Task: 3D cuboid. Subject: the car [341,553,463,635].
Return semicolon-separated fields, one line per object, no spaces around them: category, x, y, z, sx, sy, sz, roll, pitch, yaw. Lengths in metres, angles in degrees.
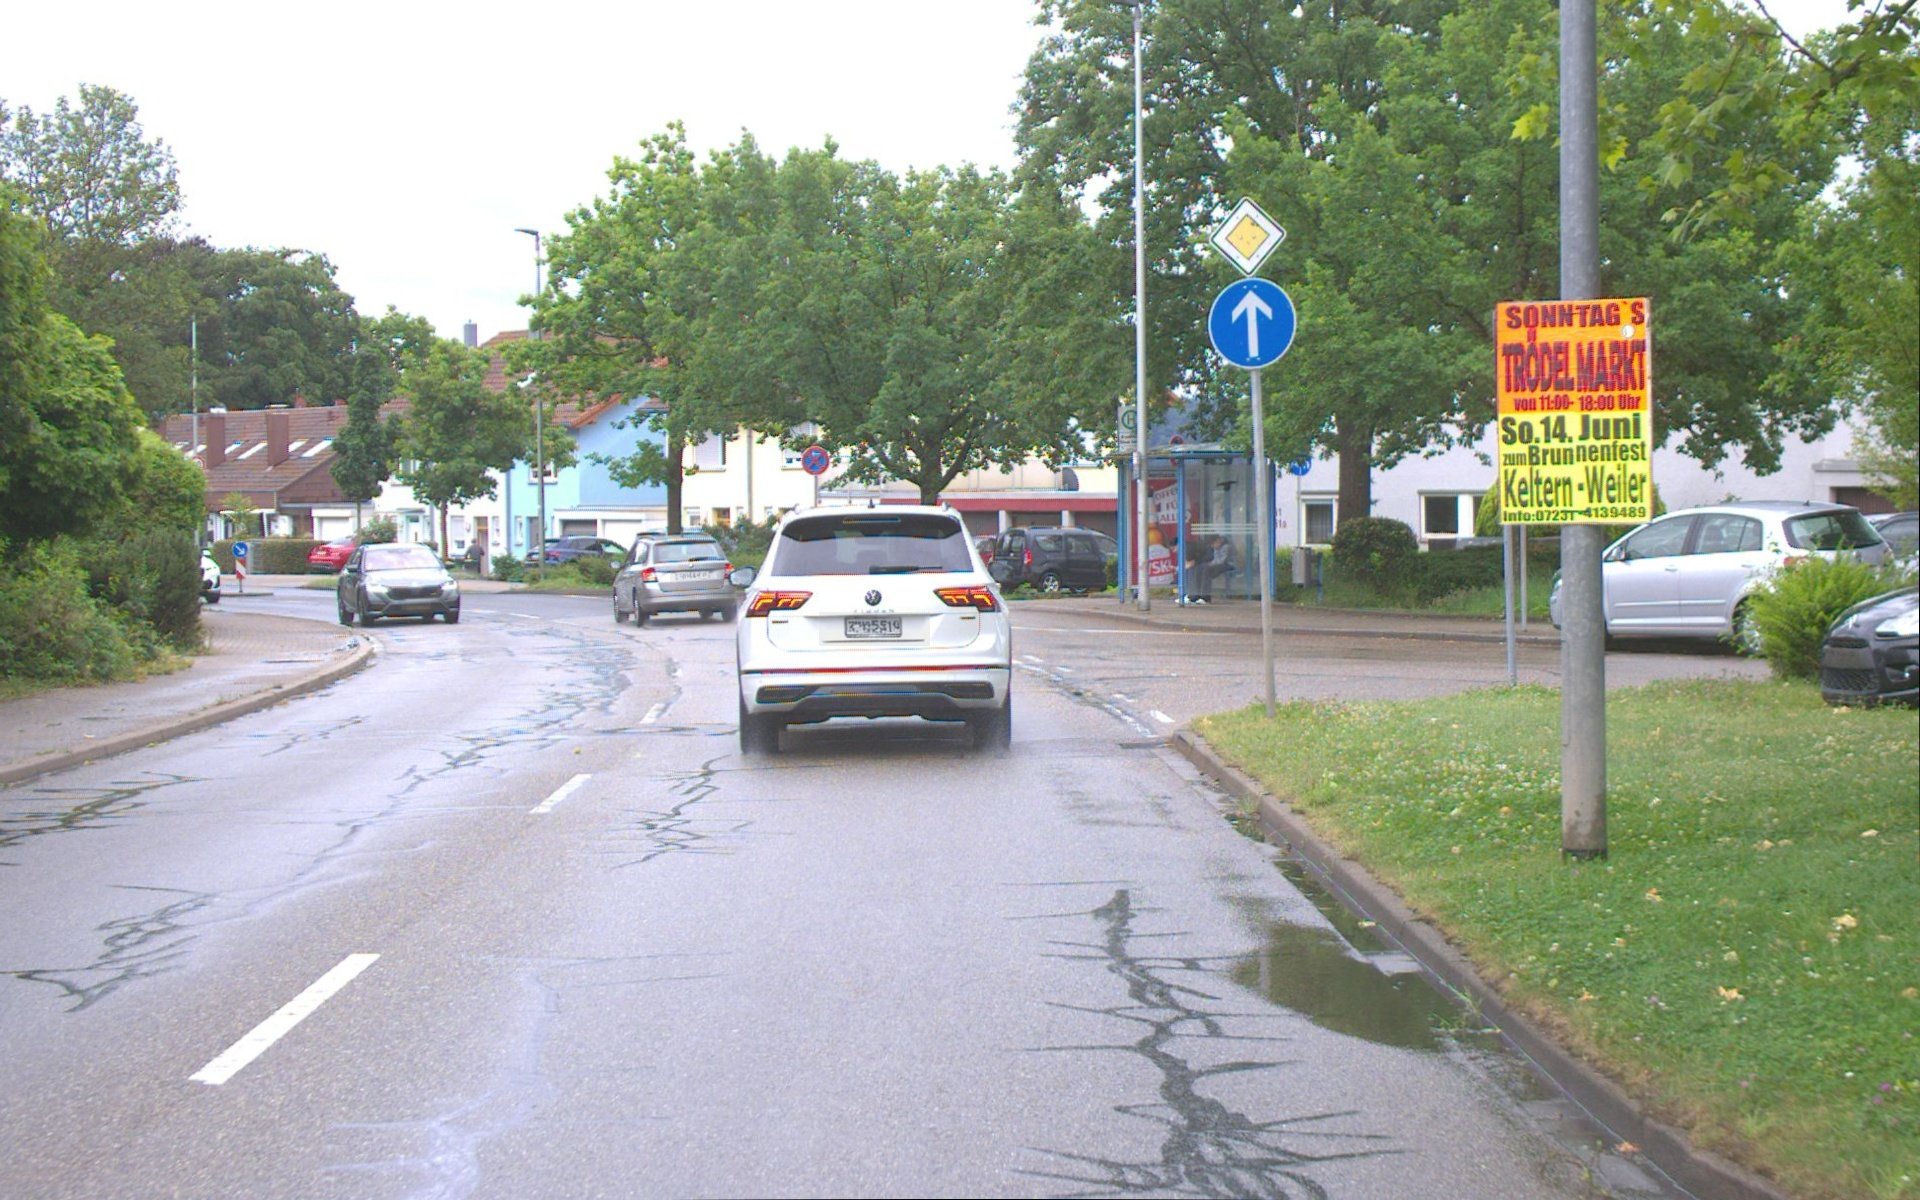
car;-10.310;-0.139;63.332;1.740;1.410;4.144;-1;1;-16

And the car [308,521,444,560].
car;-19.523;-1.987;115.101;1.678;1.256;4.306;2;1;45

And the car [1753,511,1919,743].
car;7.750;0.110;22.644;4.572;1.438;1.765;-1;1;-6

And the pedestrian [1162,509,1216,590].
pedestrian;3.560;-0.781;53.456;0.726;1.246;0.551;0;1;-9

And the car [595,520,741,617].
car;-4.899;-0.550;57.272;1.768;1.546;4.001;-1;1;-14

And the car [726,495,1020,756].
car;-0.582;0.114;24.110;1.865;1.645;4.000;-1;1;-1

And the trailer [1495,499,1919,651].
trailer;8.102;-0.298;37.381;1.994;1.537;4.425;-2;2;-35

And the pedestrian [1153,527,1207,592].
pedestrian;3.469;-0.643;54.269;0.748;1.008;0.551;0;1;-9

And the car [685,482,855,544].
car;-5.168;-2.371;93.744;4.180;1.666;1.991;-1;2;-35

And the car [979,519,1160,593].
car;2.631;-1.062;82.040;3.988;1.715;1.924;-1;1;-37

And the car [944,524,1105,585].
car;1.598;-1.133;84.609;3.693;1.437;1.706;-1;1;-37
